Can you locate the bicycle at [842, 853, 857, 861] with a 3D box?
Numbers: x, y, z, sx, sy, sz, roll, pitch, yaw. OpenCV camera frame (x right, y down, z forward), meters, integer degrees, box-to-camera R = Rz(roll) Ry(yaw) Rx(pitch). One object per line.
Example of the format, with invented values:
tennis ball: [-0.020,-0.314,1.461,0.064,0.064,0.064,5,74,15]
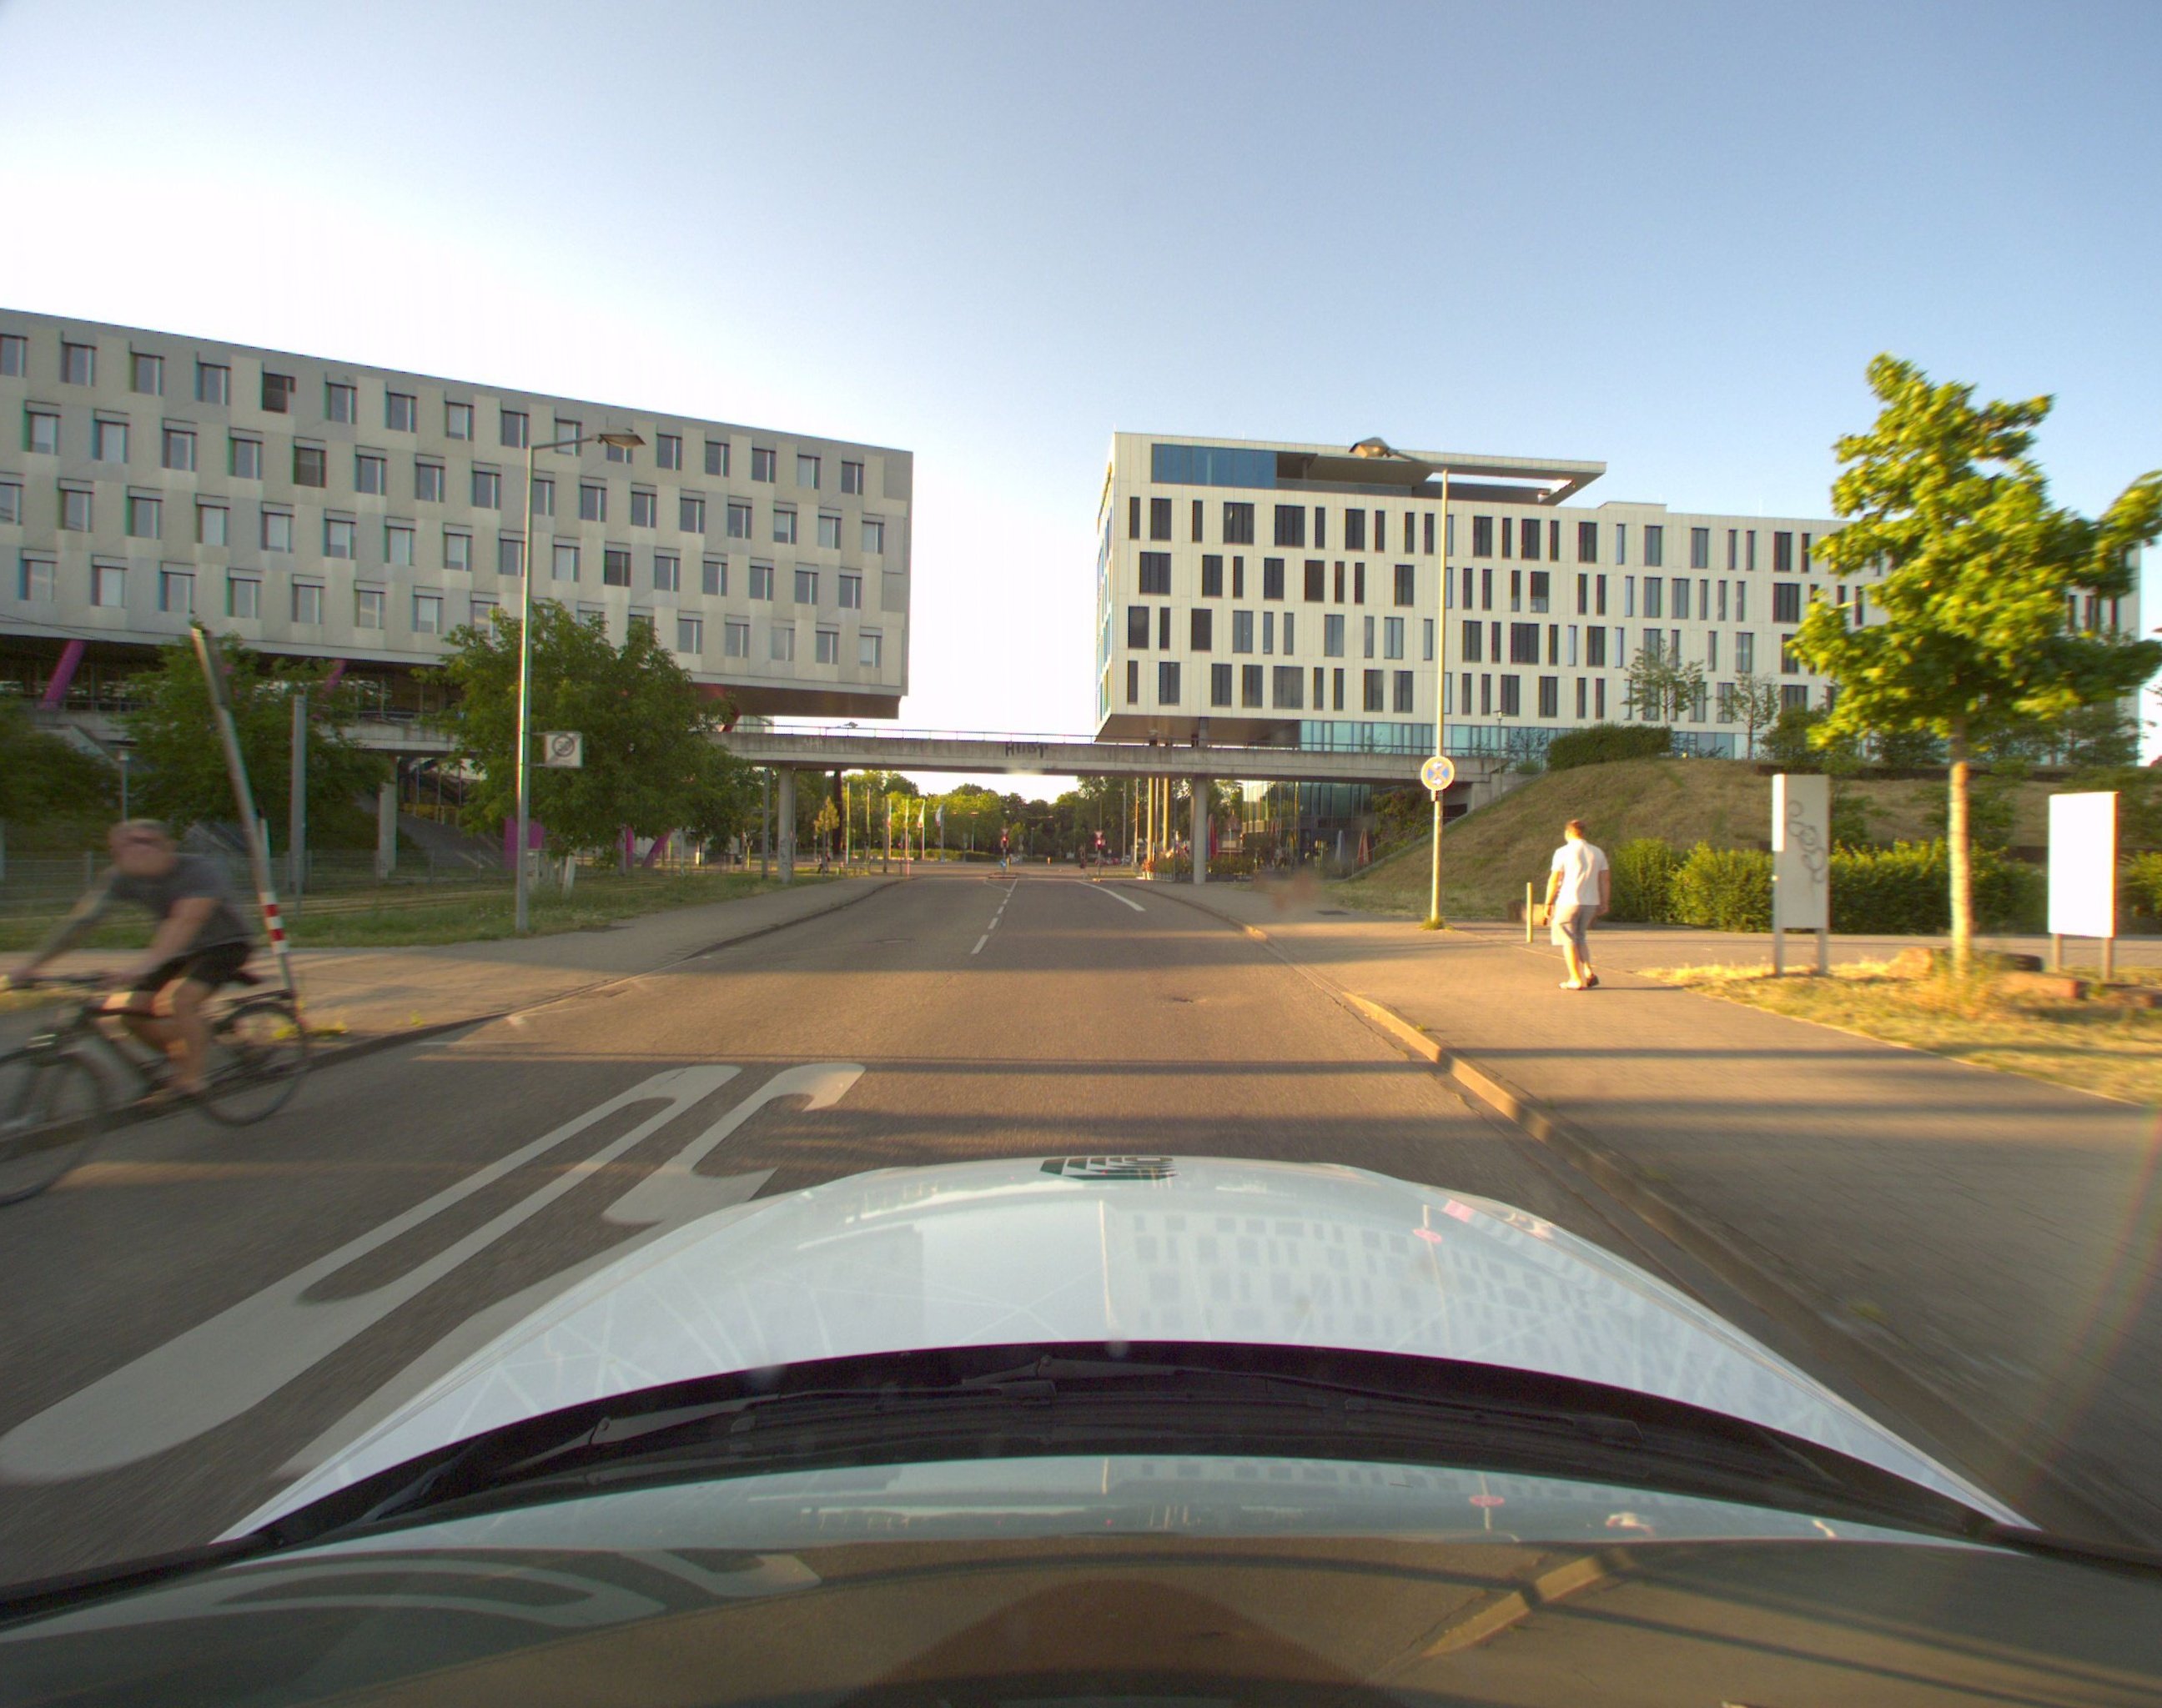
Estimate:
bicycle: [-32.976,0.377,115.937,1.974,1.128,0.555,0,1,-29]

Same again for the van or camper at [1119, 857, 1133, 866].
van or camper: [10.203,1.658,184.846,1.610,1.982,3.829,1,1,27]

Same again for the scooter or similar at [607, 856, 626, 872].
scooter or similar: [-37.643,0.809,65.984,1.212,1.200,0.502,1,1,-8]

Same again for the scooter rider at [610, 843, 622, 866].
scooter rider: [-37.648,0.035,65.979,0.705,1.782,0.442,1,1,-7]

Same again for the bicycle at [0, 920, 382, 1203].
bicycle: [-4.932,0.981,4.437,0.536,1.043,1.926,1,1,2]

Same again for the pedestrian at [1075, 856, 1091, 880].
pedestrian: [0.174,1.126,65.825,1.056,1.834,0.890,1,1,-17]

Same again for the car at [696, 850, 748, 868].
car: [-36.909,0.492,83.776,4.460,1.816,1.942,1,1,-5]

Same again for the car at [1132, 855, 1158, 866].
car: [11.278,1.179,142.796,4.450,1.816,1.946,1,1,2]

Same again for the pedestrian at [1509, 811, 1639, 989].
pedestrian: [5.171,0.471,8.606,0.828,1.766,0.818,-2,-1,4]

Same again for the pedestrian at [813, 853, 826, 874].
pedestrian: [-20.502,0.747,63.912,0.681,1.624,0.714,1,1,14]

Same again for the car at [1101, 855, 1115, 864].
car: [5.122,1.005,153.183,1.484,1.606,3.422,1,1,23]

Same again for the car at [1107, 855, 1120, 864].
car: [6.252,0.991,156.593,1.484,1.606,3.422,1,1,23]

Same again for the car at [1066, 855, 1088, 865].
car: [-0.813,1.300,175.912,4.665,1.869,2.015,1,1,3]

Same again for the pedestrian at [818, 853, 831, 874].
pedestrian: [-20.339,0.731,64.681,0.695,1.664,0.714,1,1,14]

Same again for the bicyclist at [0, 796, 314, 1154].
bicyclist: [-4.874,0.556,4.314,0.612,1.662,1.037,1,1,2]

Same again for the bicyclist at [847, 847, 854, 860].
bicyclist: [-32.844,-0.086,116.017,0.761,1.723,0.547,1,1,-29]

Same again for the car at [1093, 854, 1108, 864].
car: [3.637,0.986,149.403,1.484,1.760,3.422,1,1,23]
